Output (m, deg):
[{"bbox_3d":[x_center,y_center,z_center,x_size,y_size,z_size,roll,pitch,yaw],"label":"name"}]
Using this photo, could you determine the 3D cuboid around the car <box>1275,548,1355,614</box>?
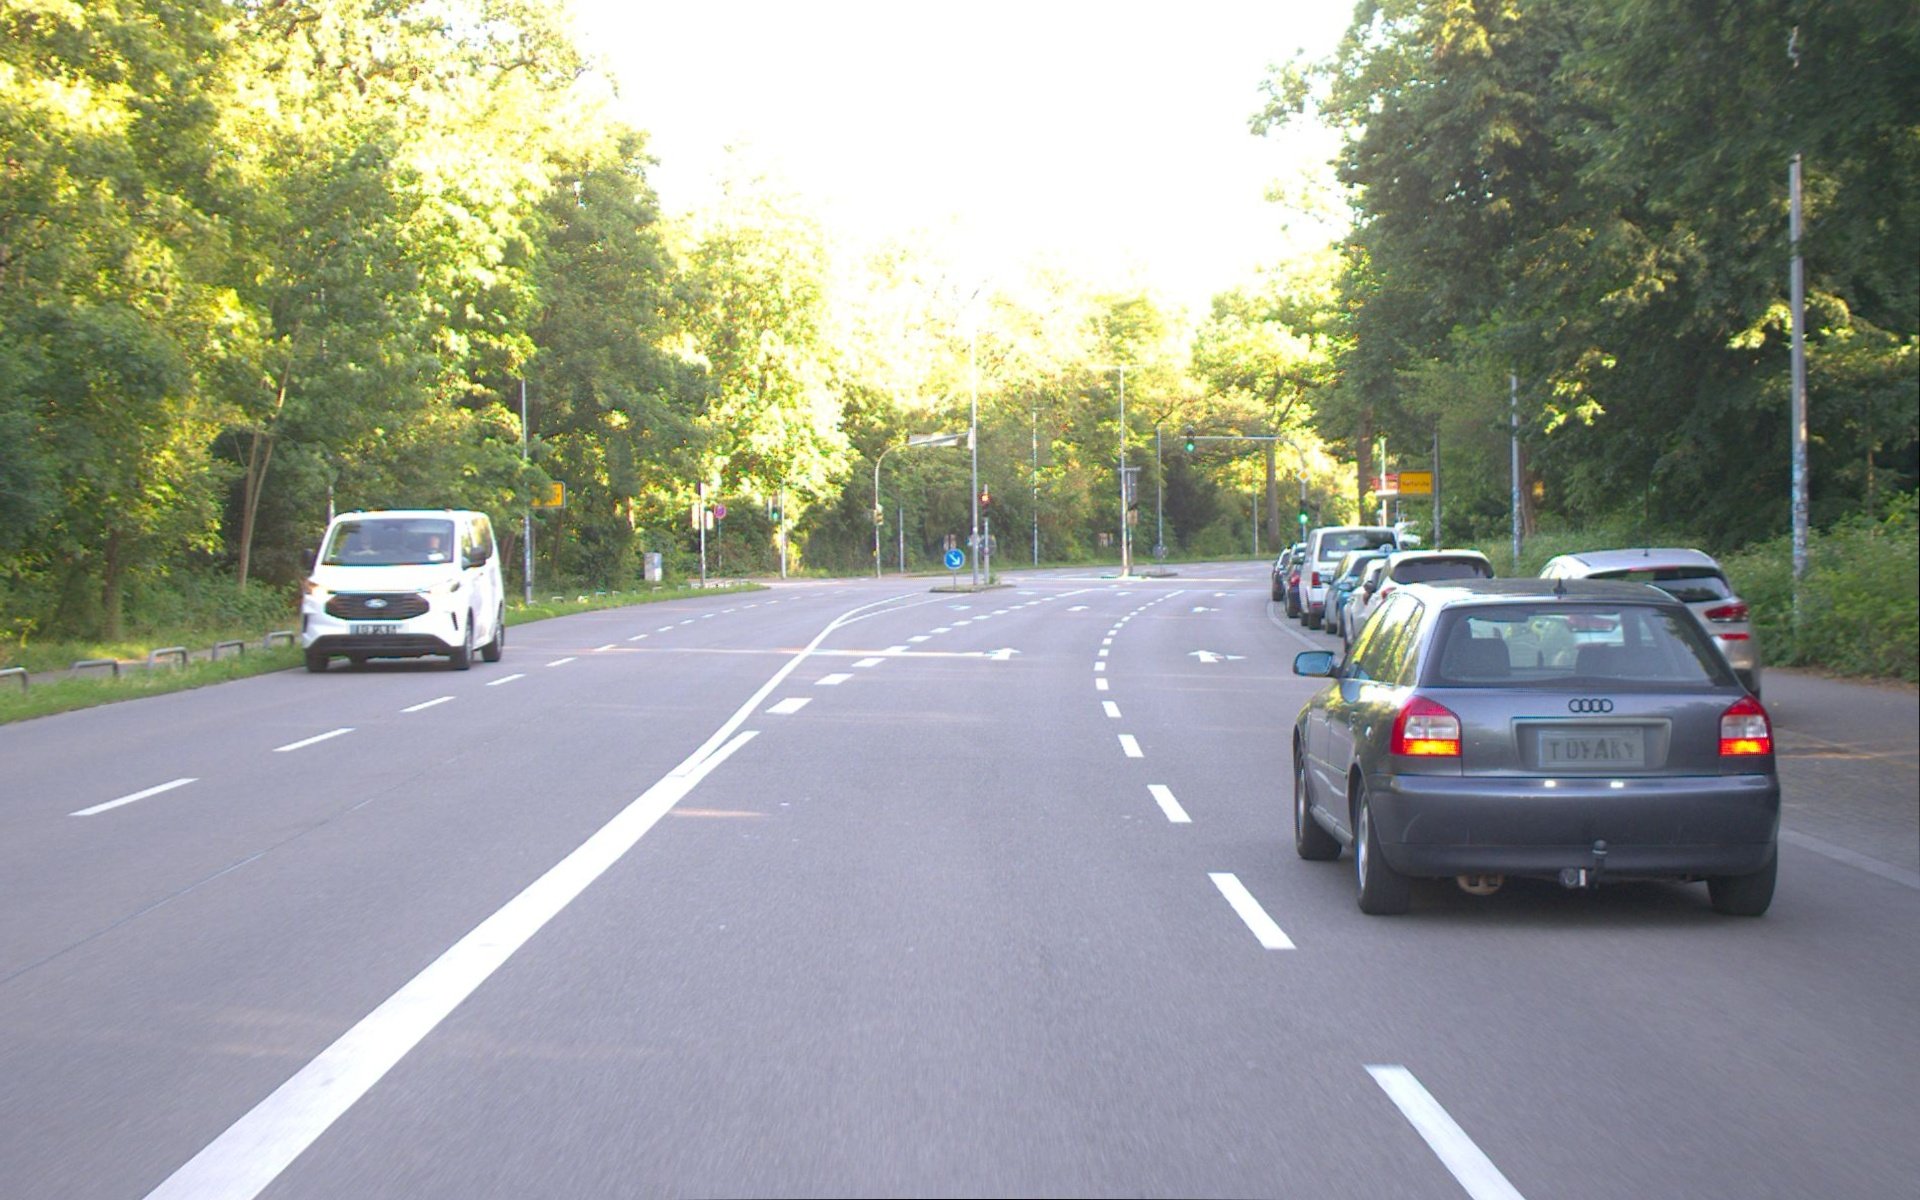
[{"bbox_3d":[7.920,-0.446,76.890,1.650,1.436,4.112,0,1,4],"label":"car"}]

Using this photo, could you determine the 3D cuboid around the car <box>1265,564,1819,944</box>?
[{"bbox_3d":[2.436,0.577,15.367,1.727,1.436,4.090,0,1,-1],"label":"car"}]

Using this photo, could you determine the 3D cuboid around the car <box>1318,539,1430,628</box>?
[{"bbox_3d":[7.335,-0.320,61.175,1.648,1.517,3.866,0,1,2],"label":"car"}]

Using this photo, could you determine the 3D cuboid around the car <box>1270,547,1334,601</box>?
[{"bbox_3d":[9.775,-0.758,98.412,1.728,1.456,4.166,-2,1,5],"label":"car"}]

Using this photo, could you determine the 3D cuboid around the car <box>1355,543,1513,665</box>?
[{"bbox_3d":[6.136,0.012,44.851,1.728,1.517,4.089,0,1,3],"label":"car"}]

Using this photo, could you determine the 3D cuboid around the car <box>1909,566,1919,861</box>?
[{"bbox_3d":[5.502,0.563,14.206,1.838,1.436,4.957,-2,1,1],"label":"car"}]

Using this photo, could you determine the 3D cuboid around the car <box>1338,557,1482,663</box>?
[{"bbox_3d":[6.396,0.110,49.189,1.728,1.405,4.089,-1,1,3],"label":"car"}]

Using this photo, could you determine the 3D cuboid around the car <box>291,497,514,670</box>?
[{"bbox_3d":[-6.899,-0.211,43.032,1.993,1.985,4.998,2,0,-1],"label":"car"}]

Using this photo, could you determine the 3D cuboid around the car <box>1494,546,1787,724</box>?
[{"bbox_3d":[5.852,0.247,30.063,1.728,1.436,4.667,0,1,1],"label":"car"}]

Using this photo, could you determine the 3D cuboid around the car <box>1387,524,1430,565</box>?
[{"bbox_3d":[26.081,-3.231,199.839,2.309,2.328,4.558,0,1,9],"label":"car"}]

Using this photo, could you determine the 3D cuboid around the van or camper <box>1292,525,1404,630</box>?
[{"bbox_3d":[7.552,-0.470,67.310,1.832,1.963,5.341,0,1,3],"label":"van or camper"}]
